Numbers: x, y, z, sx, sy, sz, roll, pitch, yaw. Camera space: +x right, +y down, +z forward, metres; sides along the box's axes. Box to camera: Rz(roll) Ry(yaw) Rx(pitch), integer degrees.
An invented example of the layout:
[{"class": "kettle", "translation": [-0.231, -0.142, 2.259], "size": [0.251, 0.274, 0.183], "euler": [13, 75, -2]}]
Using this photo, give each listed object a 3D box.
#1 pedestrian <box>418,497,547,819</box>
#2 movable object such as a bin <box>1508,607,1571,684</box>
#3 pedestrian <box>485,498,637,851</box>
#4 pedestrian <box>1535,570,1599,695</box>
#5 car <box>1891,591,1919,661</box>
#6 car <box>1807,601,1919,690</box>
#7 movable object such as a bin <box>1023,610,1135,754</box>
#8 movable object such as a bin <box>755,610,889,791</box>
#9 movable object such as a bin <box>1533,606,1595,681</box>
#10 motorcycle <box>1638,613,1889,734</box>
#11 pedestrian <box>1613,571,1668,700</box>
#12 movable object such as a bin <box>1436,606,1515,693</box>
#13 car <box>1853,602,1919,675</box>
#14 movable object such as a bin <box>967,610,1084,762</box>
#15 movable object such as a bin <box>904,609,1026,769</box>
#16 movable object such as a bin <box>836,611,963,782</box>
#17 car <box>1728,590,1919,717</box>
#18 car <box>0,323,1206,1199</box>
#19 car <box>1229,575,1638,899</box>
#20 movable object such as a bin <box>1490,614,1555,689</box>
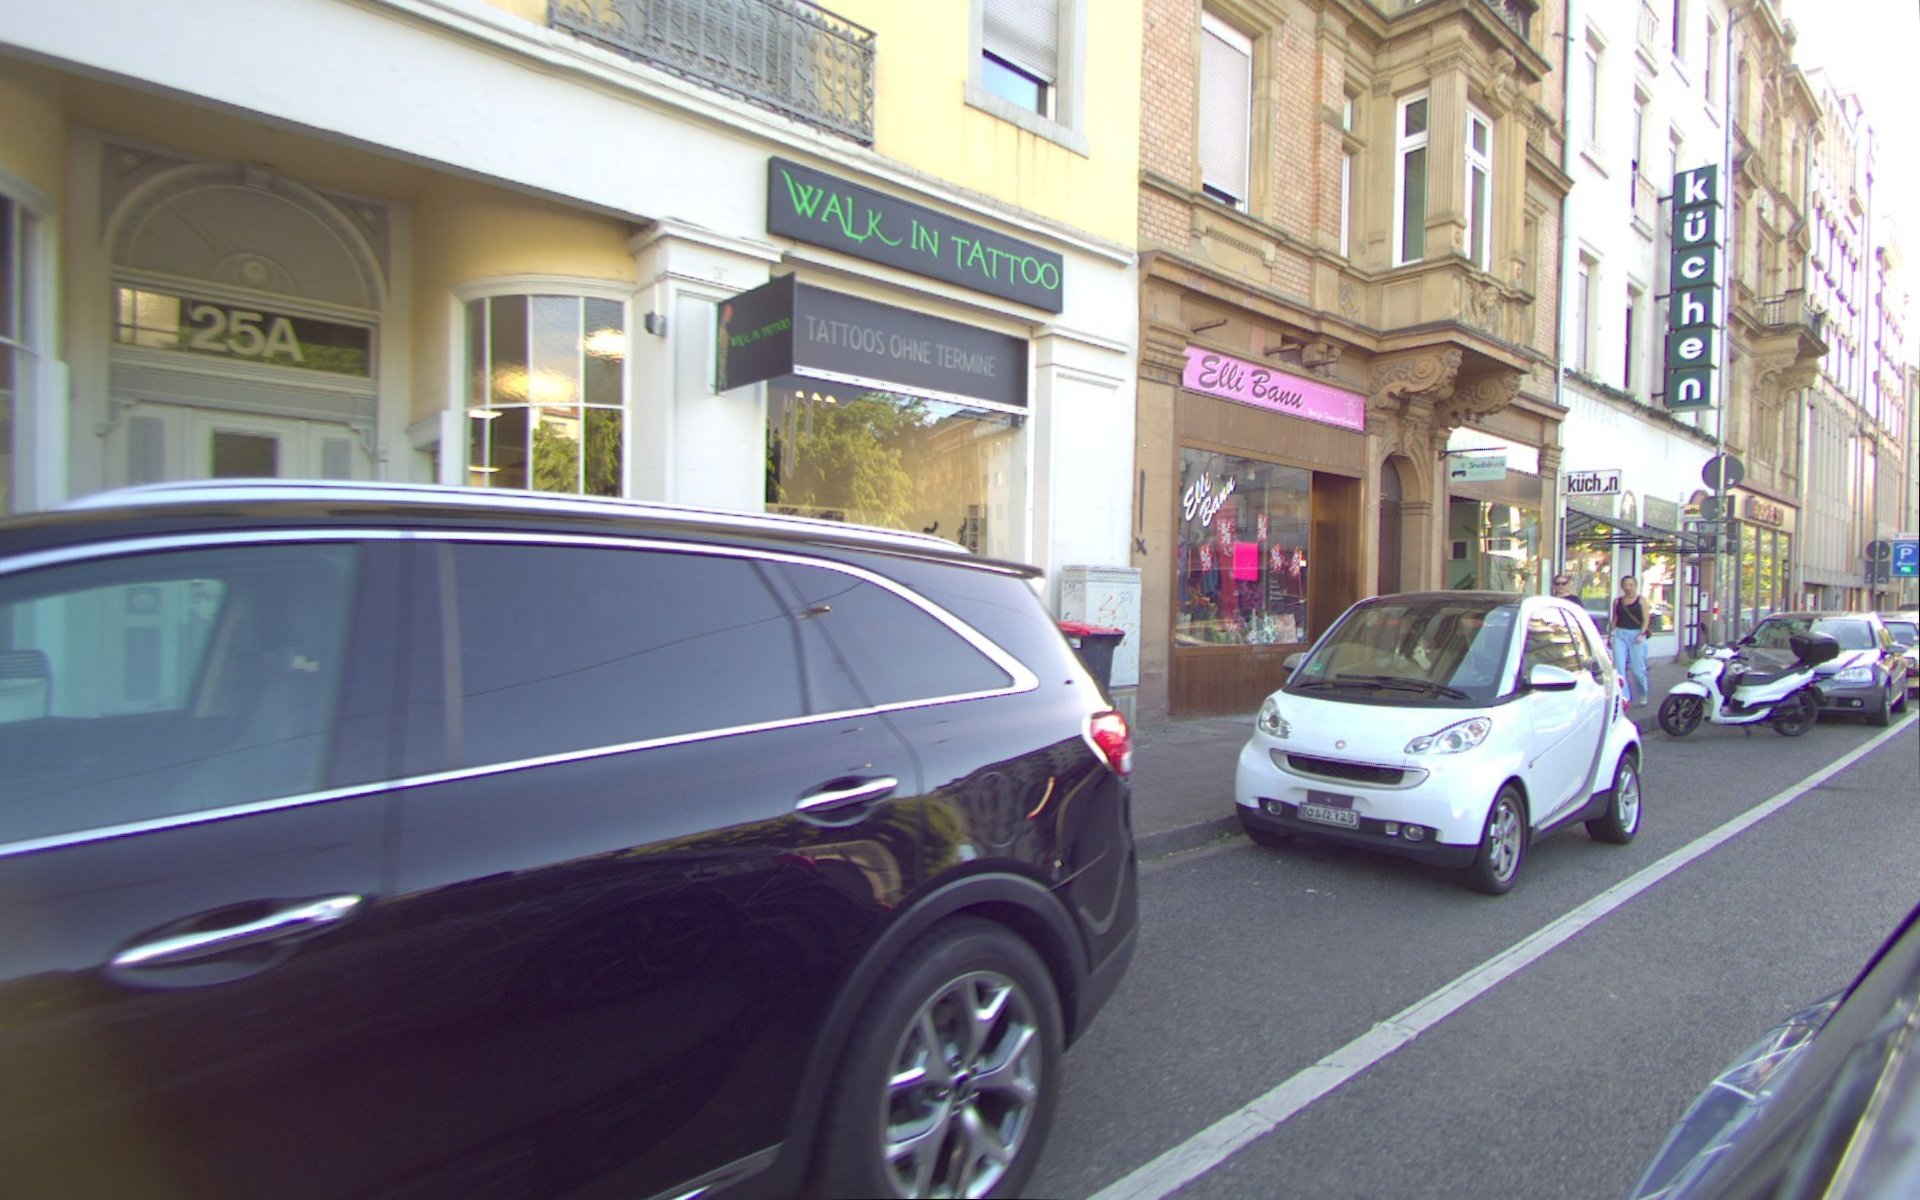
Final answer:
[{"class": "pedestrian", "translation": [-2.629, 0.294, 5.588], "size": [0.335, 1.681, 0.518], "euler": [2, 1, 30]}, {"class": "movable object such as a bin", "translation": [8.714, 0.666, 15.219], "size": [0.608, 1.086, 0.606], "euler": [1, 3, -40]}, {"class": "pedestrian", "translation": [-2.037, 0.348, 5.170], "size": [0.582, 1.681, 0.451], "euler": [1, 1, -39]}, {"class": "pedestrian", "translation": [8.324, 0.426, 13.875], "size": [0.616, 1.653, 0.456], "euler": [4, 2, 40]}, {"class": "car", "translation": [25.036, 0.647, 25.503], "size": [3.978, 1.711, 1.894], "euler": [0, 0, -41]}, {"class": "car", "translation": [16.881, 0.760, 18.388], "size": [3.735, 1.435, 1.736], "euler": [0, 0, -41]}, {"class": "movable object such as a bin", "translation": [0.972, 0.640, 8.292], "size": [0.608, 1.079, 0.606], "euler": [1, 3, -40]}, {"class": "movable object such as a bin", "translation": [-0.916, 0.629, 6.690], "size": [0.608, 1.079, 0.606], "euler": [1, 3, -40]}, {"class": "movable object such as a bin", "translation": [9.413, 0.664, 15.778], "size": [0.608, 1.086, 0.606], "euler": [1, 3, -40]}, {"class": "motorcycle", "translation": [9.339, 0.828, 11.859], "size": [2.137, 1.295, 0.866], "euler": [1, 0, 8]}, {"class": "pedestrian", "translation": [8.907, 0.449, 13.263], "size": [0.509, 1.653, 0.411], "euler": [1, 0, 22]}, {"class": "movable object such as a bin", "translation": [6.969, 0.646, 13.679], "size": [0.608, 1.084, 0.716], "euler": [1, 3, -40]}, {"class": "car", "translation": [20.156, 0.767, 21.182], "size": [3.735, 1.435, 1.736], "euler": [0, 0, -41]}, {"class": "movable object such as a bin", "translation": [0.508, 0.638, 7.888], "size": [0.608, 1.079, 0.606], "euler": [1, 3, -40]}, {"class": "movable object such as a bin", "translation": [0.035, 0.626, 7.484], "size": [0.608, 1.079, 0.606], "euler": [1, 3, -40]}, {"class": "movable object such as a bin", "translation": [-0.425, 0.643, 7.094], "size": [0.608, 1.079, 0.606], "euler": [1, 3, -40]}, {"class": "car", "translation": [12.422, 0.654, 14.398], "size": [4.095, 1.537, 1.735], "euler": [0, 0, -43]}, {"class": "car", "translation": [-1.505, 0.555, 1.966], "size": [4.497, 1.758, 1.756], "euler": [0, 0, -45]}, {"class": "car", "translation": [2.987, 0.648, 6.201], "size": [2.746, 1.537, 1.274], "euler": [0, 0, -41]}, {"class": "movable object such as a bin", "translation": [8.206, 0.737, 14.777], "size": [0.608, 1.004, 0.606], "euler": [1, 3, -40]}]
